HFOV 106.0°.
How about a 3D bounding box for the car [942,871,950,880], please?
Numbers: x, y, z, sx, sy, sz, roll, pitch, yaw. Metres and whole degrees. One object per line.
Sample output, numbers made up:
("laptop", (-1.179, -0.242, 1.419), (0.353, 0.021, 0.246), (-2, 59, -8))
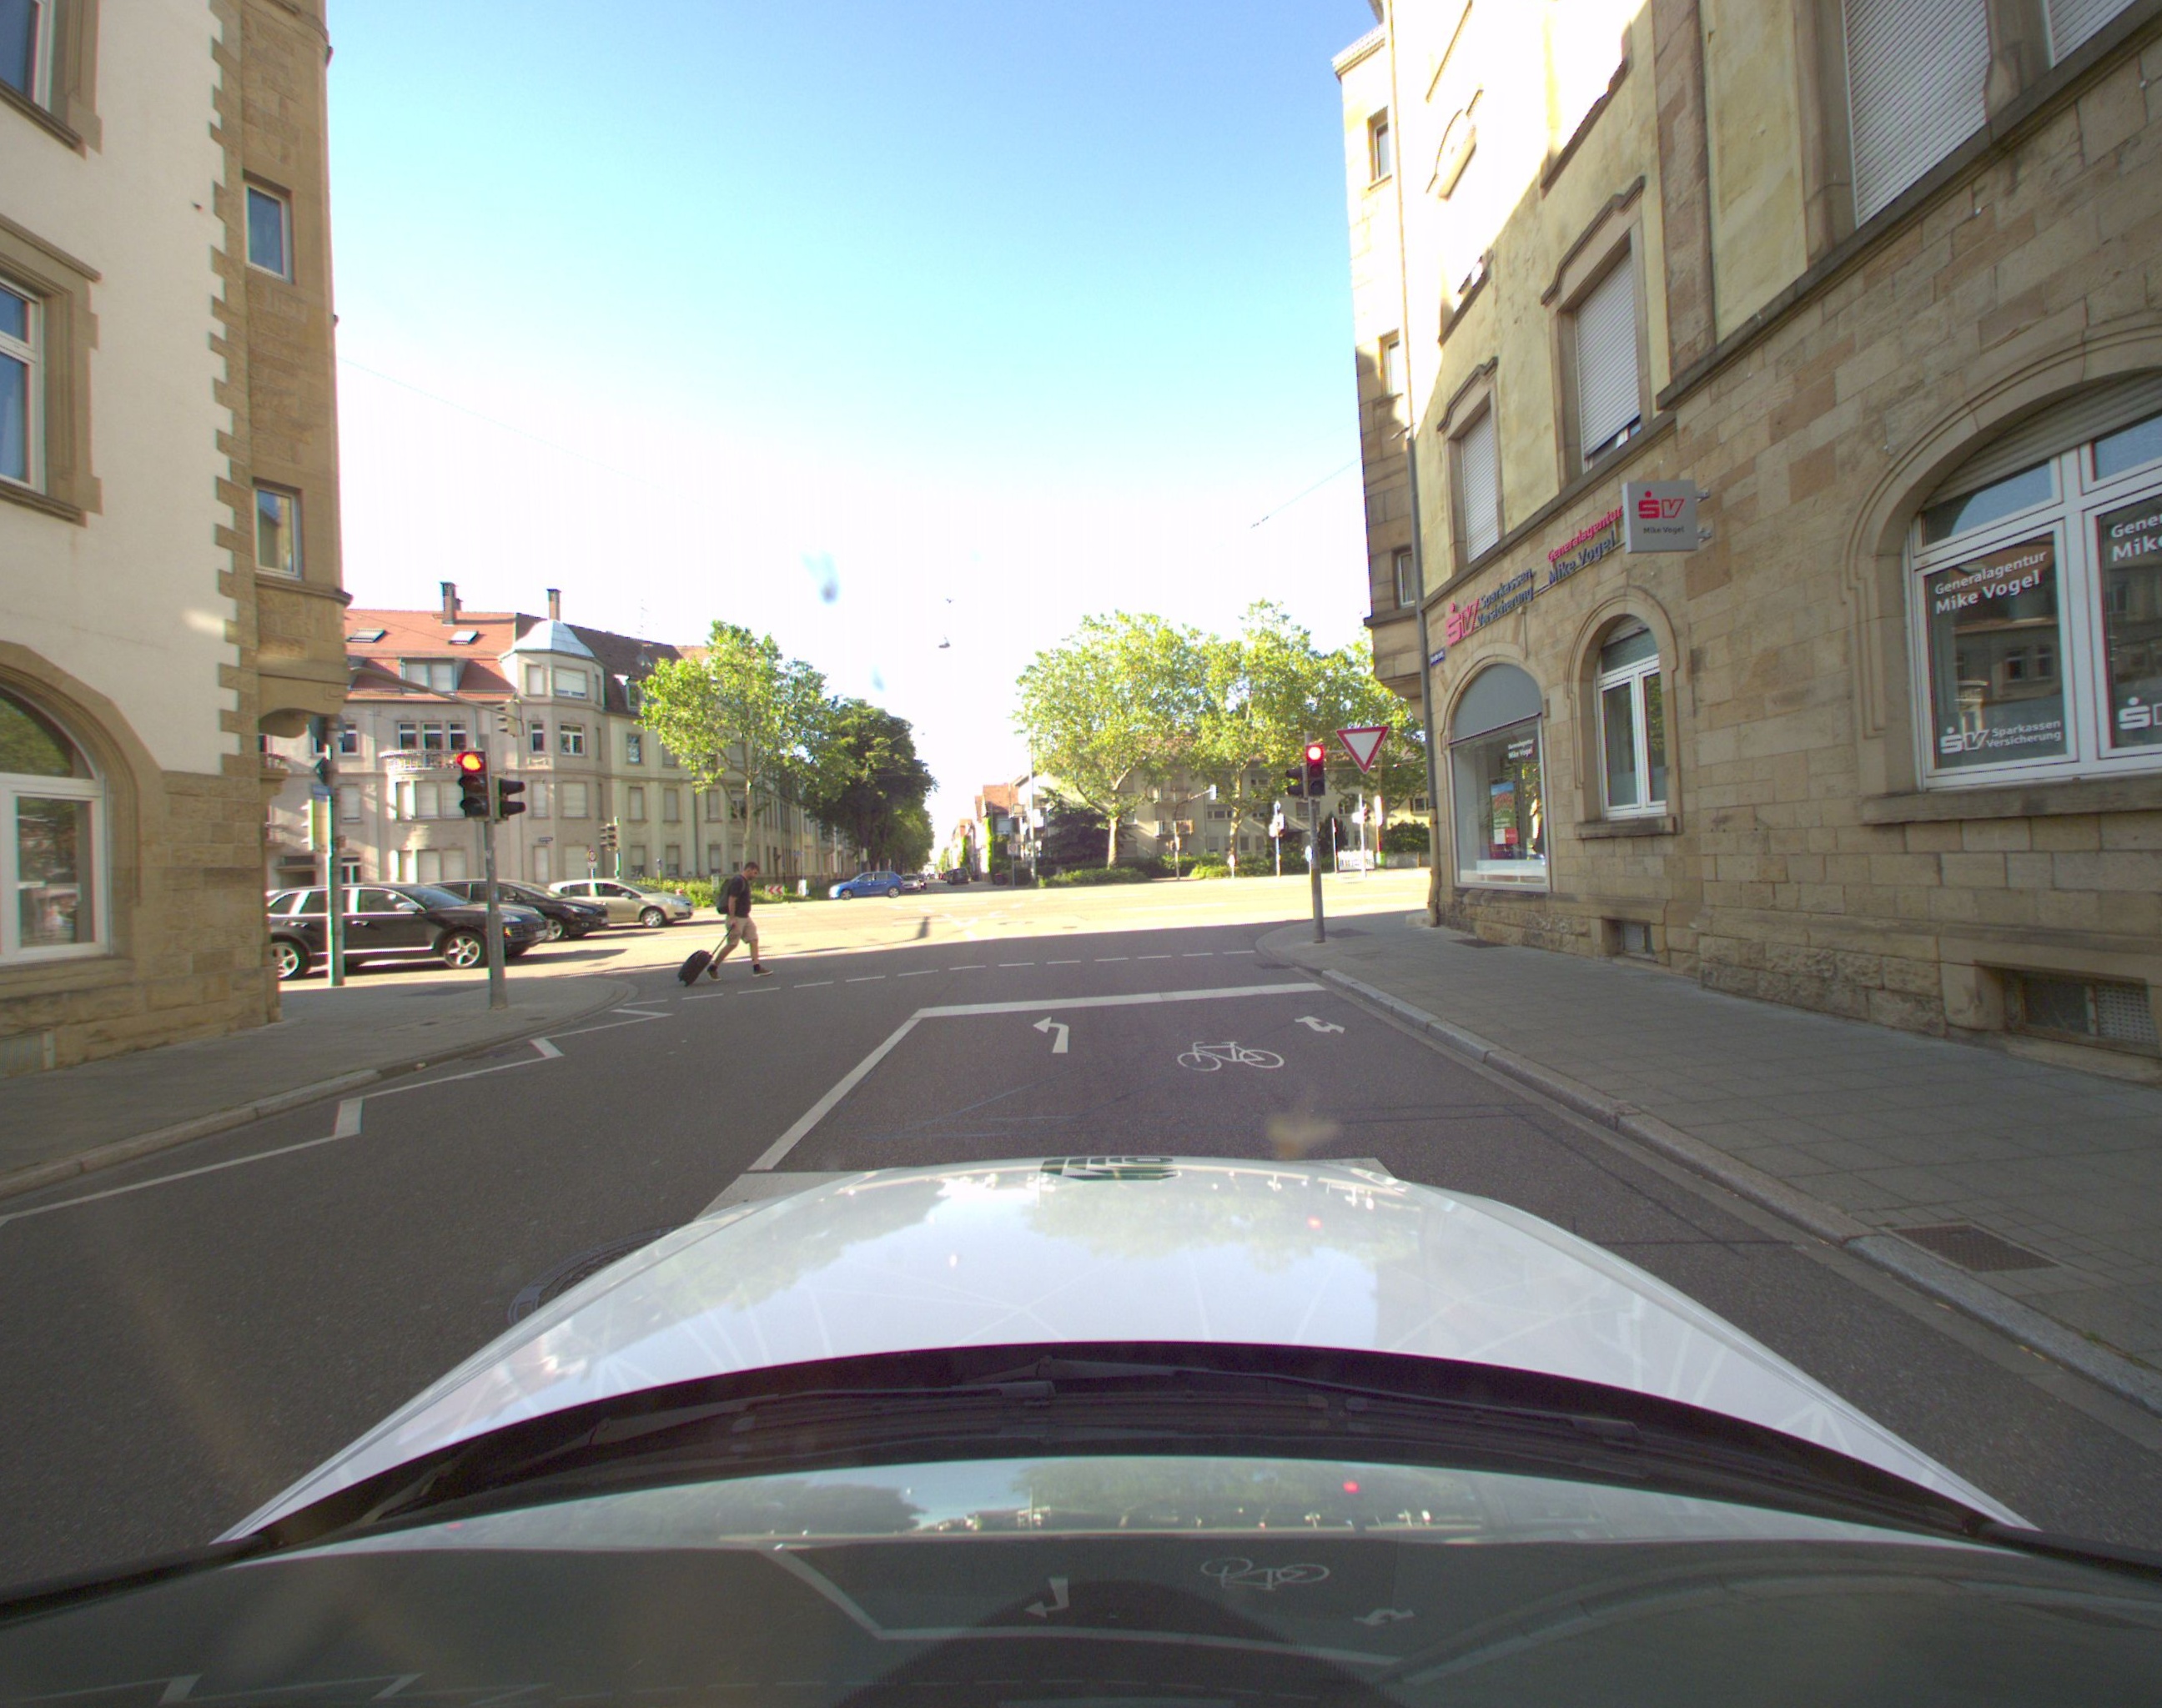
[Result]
("car", (-30.131, 4.811, 181.728), (1.773, 1.918, 3.522), (-4, 0, -10))

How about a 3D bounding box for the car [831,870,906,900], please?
("car", (-11.558, 1.649, 44.220), (3.793, 1.400, 1.635), (-2, 0, -20))

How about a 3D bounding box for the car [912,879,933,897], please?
("car", (-14.556, 3.101, 74.802), (1.698, 1.483, 3.522), (-4, 0, -10))

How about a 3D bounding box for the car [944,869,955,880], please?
("car", (-23.755, 3.703, 147.185), (1.773, 1.918, 3.522), (-4, 0, -10))

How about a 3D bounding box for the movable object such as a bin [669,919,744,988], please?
("movable object such as a bin", (-5.488, 1.444, 11.971), (0.862, 0.892, 0.507), (-3, 0, -11))

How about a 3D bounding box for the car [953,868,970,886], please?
("car", (-13.956, 2.697, 95.015), (1.773, 1.918, 3.522), (-4, 0, -10))

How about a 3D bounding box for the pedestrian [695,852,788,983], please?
("pedestrian", (-5.155, 0.938, 12.434), (1.066, 1.848, 0.746), (-4, 0, -11))

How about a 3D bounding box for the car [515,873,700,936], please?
("car", (-13.475, 1.406, 23.445), (4.207, 1.456, 1.670), (-3, 0, -14))

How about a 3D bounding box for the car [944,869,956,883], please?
("car", (-20.746, 3.478, 128.817), (1.773, 1.918, 3.522), (-4, 0, -10))

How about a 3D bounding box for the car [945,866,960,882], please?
("car", (-16.568, 2.549, 105.204), (1.773, 1.918, 3.522), (-4, 0, -10))

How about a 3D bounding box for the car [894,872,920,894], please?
("car", (-13.596, 2.265, 63.818), (1.698, 1.483, 3.522), (-4, 0, -10))

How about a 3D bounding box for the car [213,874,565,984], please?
("car", (-13.071, 1.353, 15.788), (4.700, 1.694, 2.069), (-2, 0, -14))

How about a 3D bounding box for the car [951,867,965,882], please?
("car", (-17.559, 2.892, 115.848), (1.773, 1.918, 3.522), (-4, 0, -10))

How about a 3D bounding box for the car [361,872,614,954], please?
("car", (-14.479, 1.397, 20.167), (4.668, 1.664, 1.722), (-2, 0, -14))

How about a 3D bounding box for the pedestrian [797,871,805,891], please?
("pedestrian", (-20.146, 1.959, 58.684), (0.490, 1.442, 0.699), (0, -1, -24))
